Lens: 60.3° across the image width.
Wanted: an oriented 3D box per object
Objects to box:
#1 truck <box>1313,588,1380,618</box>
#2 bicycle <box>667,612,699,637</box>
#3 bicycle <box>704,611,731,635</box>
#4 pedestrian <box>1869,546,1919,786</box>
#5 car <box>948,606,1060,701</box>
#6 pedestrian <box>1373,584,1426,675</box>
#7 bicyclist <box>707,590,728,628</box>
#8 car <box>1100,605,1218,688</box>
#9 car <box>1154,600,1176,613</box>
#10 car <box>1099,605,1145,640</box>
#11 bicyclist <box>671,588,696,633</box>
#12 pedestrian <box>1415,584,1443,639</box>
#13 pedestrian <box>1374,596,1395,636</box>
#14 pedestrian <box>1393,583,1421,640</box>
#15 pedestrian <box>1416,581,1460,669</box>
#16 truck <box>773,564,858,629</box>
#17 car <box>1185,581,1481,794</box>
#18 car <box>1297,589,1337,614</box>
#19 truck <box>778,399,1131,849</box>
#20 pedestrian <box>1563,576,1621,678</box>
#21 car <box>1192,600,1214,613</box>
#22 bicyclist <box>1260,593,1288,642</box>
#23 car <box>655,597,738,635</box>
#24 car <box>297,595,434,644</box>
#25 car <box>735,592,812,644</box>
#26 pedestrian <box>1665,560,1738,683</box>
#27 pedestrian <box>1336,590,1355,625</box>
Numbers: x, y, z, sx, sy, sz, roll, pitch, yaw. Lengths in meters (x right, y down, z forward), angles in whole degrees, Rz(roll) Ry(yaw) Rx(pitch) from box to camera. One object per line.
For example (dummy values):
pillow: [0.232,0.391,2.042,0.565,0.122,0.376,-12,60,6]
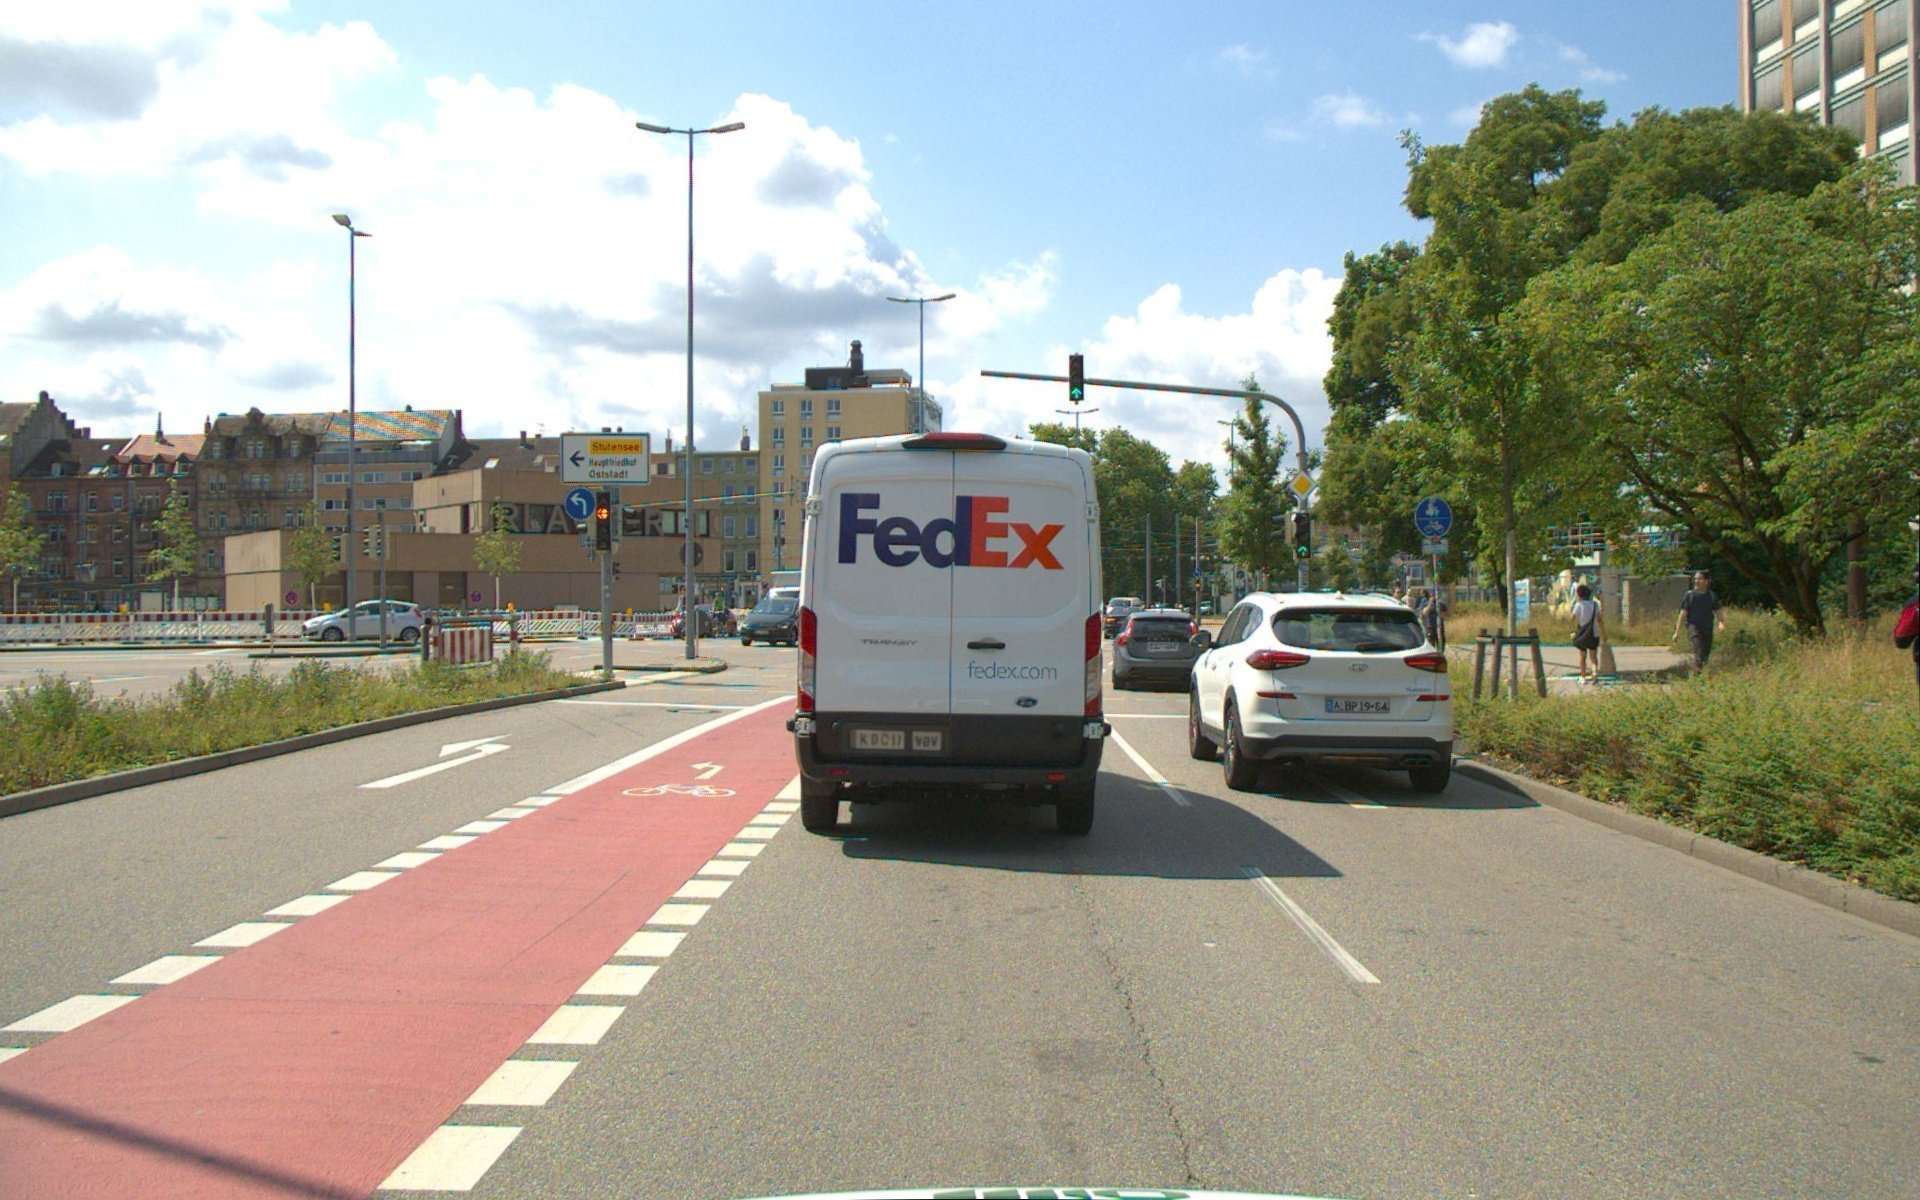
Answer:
truck: [39.033,0.287,166.795,2.843,2.902,8.740,-1,0,42]
bicycle: [-10.304,0.910,61.653,0.760,0.905,2.109,-1,0,2]
bicycle: [-9.593,0.907,65.458,0.555,0.905,1.744,-1,0,10]
pedestrian: [7.414,0.480,12.419,0.653,1.780,0.848,-2,0,-1]
car: [0.775,0.818,27.351,1.705,1.416,4.181,0,0,3]
pedestrian: [9.018,0.595,33.946,0.735,1.808,0.880,-2,0,-6]
bicyclist: [-9.598,0.346,65.476,0.553,1.487,0.837,-1,0,10]
car: [3.751,0.843,31.750,1.875,1.445,3.919,0,0,1]
car: [26.443,0.808,213.368,1.952,1.601,4.178,1,-1,21]
car: [7.452,1.009,75.989,1.841,1.532,4.159,1,0,9]
bicyclist: [-10.309,0.380,61.679,0.760,1.647,0.843,-1,0,2]
pedestrian: [15.261,0.370,53.814,0.734,1.783,0.610,-2,0,6]
pedestrian: [20.575,0.771,80.180,0.740,1.853,0.780,-4,-1,2]
pedestrian: [14.461,0.373,53.527,0.734,1.834,0.610,-2,0,6]
pedestrian: [9.858,0.506,34.124,0.653,1.777,0.609,-2,0,-6]
truck: [-7.141,-0.102,82.930,1.951,3.121,7.335,1,-1,14]
car: [3.231,0.686,15.176,1.842,1.670,4.233,0,0,1]
car: [24.051,0.093,111.258,1.843,1.670,3.955,0,0,24]
truck: [-0.063,0.160,12.933,2.093,2.686,5.916,1,0,-1]
pedestrian: [10.390,0.439,27.200,0.653,1.624,0.647,-2,0,-1]
car: [31.032,0.858,211.200,1.952,1.601,4.178,1,-1,21]
bicyclist: [10.691,0.594,56.359,0.810,1.629,0.580,-3,-2,6]
car: [-10.890,0.640,68.647,1.951,1.512,3.908,-1,0,15]
car: [-19.838,0.666,55.239,3.968,1.534,1.977,2,-1,-34]
car: [-6.249,0.583,55.852,1.841,1.652,4.157,1,0,4]
pedestrian: [10.979,0.316,24.497,0.734,1.780,0.667,-2,0,0]
pedestrian: [18.458,0.363,79.273,0.740,1.617,0.761,1,-1,2]
